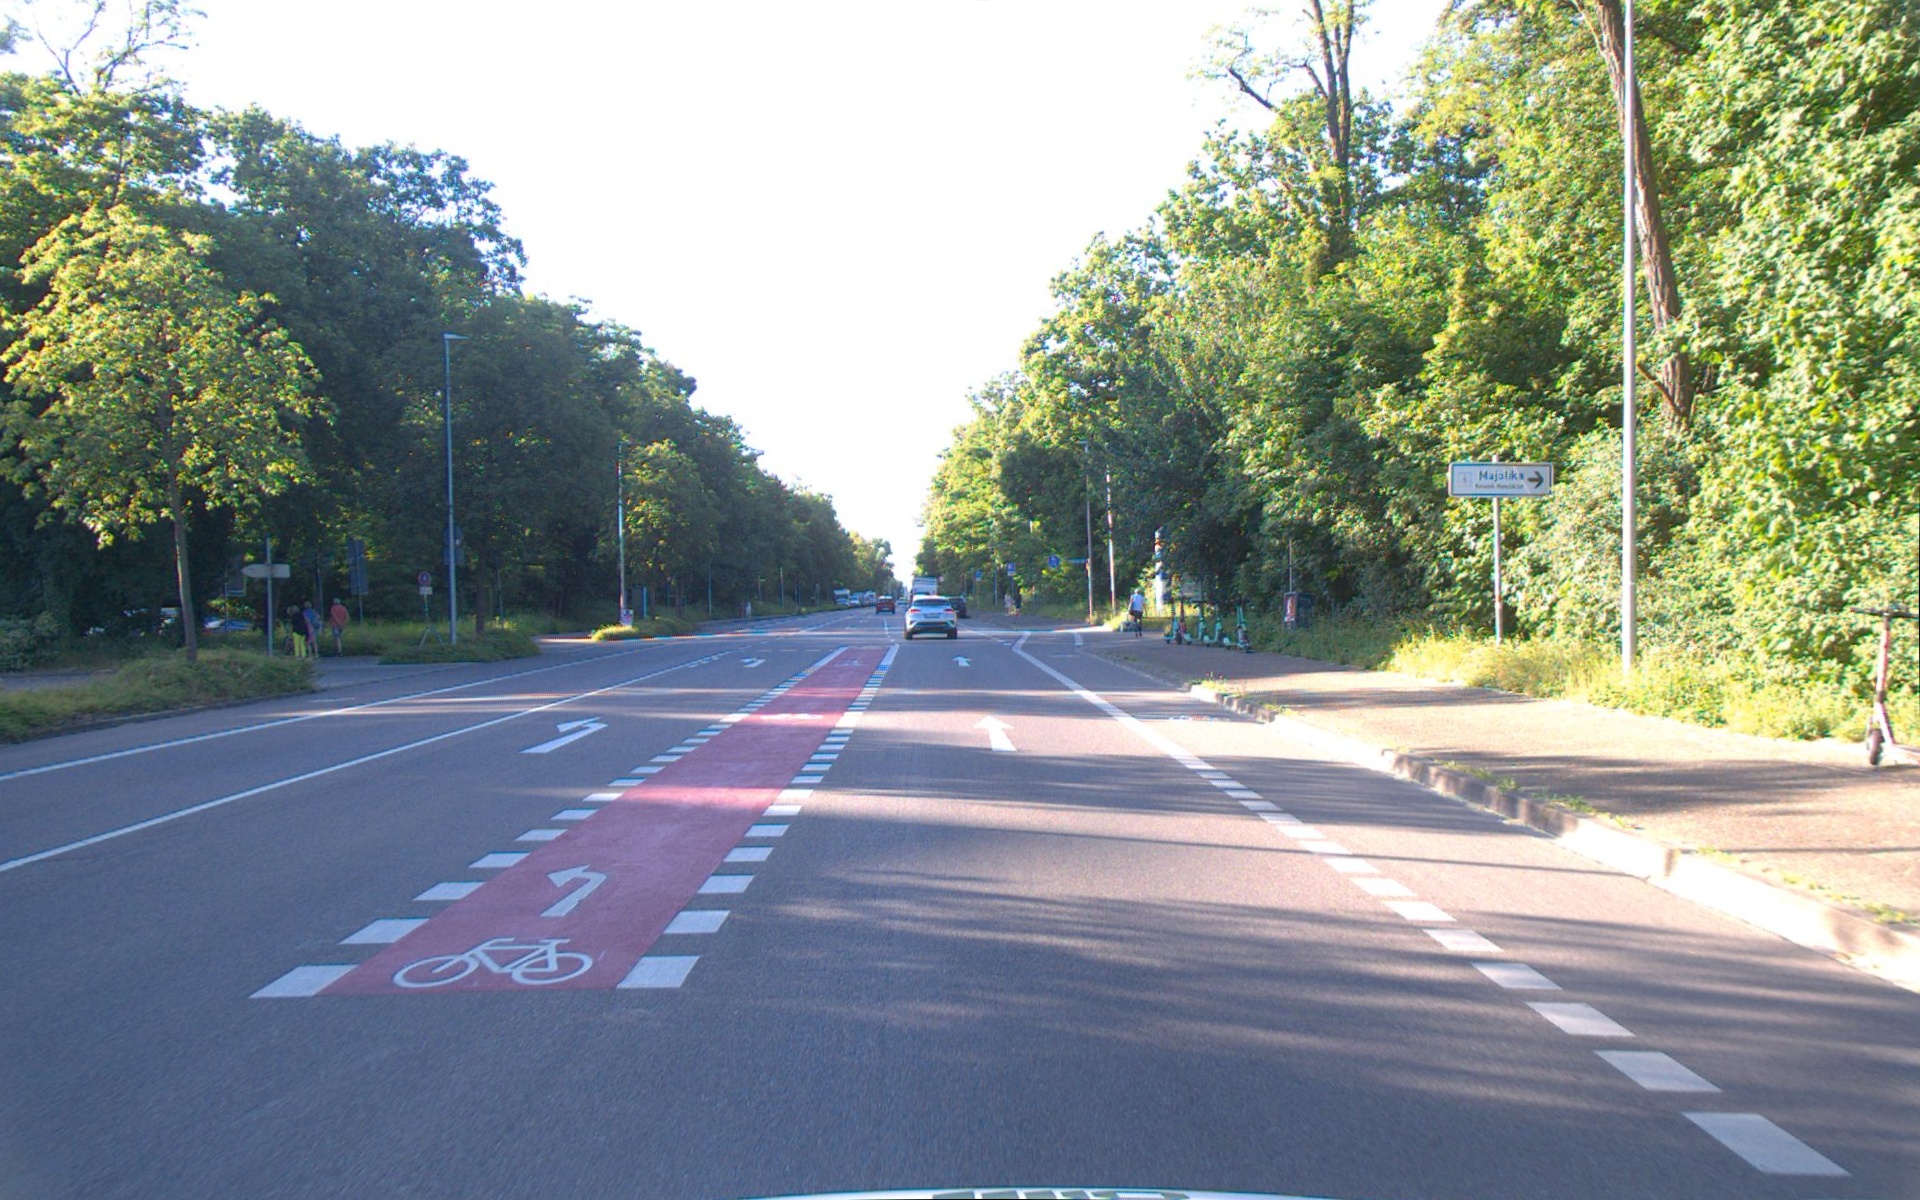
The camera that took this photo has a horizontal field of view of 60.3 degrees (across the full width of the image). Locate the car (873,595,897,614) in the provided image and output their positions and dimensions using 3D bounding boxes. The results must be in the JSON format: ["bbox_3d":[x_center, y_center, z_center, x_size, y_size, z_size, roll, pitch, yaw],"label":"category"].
[{"bbox_3d":[-6.616,0.393,146.692,1.953,1.545,3.999,-1,0,-1],"label":"car"}]

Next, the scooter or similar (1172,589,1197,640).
[{"bbox_3d":[6.553,0.418,48.346,0.667,1.448,1.246,-1,0,7],"label":"scooter or similar"}]

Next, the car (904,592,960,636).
[{"bbox_3d":[-1.033,0.488,58.471,1.727,1.485,3.814,0,0,-5],"label":"car"}]

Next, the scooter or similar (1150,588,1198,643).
[{"bbox_3d":[5.873,0.416,45.507,0.671,1.448,1.674,-1,0,-16],"label":"scooter or similar"}]

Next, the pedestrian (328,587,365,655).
[{"bbox_3d":[-18.698,0.641,50.426,0.703,2.049,0.746,-1,0,30],"label":"pedestrian"}]

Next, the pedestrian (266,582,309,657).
[{"bbox_3d":[-18.631,0.525,45.843,0.702,2.049,0.797,-1,0,19],"label":"pedestrian"}]

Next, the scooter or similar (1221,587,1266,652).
[{"bbox_3d":[6.468,0.435,37.817,0.668,1.448,1.681,-1,0,-2],"label":"scooter or similar"}]

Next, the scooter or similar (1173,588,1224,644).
[{"bbox_3d":[6.302,0.411,43.837,0.671,1.448,1.674,-1,0,-16],"label":"scooter or similar"}]

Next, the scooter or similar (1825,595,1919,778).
[{"bbox_3d":[6.992,0.607,12.059,0.522,1.272,1.541,-1,0,-1],"label":"scooter or similar"}]

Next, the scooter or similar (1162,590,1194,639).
[{"bbox_3d":[6.570,0.419,49.886,0.668,1.448,1.681,-1,0,-1],"label":"scooter or similar"}]

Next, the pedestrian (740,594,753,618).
[{"bbox_3d":[-18.407,0.534,142.560,0.846,2.049,1.269,-1,0,0],"label":"pedestrian"}]

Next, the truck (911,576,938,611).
[{"bbox_3d":[-3.840,-0.712,179.481,2.743,3.632,8.030,0,0,-3],"label":"truck"}]

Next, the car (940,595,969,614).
[{"bbox_3d":[-0.389,0.317,120.098,1.953,1.350,3.999,-2,0,-2],"label":"car"}]

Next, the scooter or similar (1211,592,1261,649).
[{"bbox_3d":[6.608,0.485,39.674,0.459,1.329,1.470,-1,0,-23],"label":"scooter or similar"}]

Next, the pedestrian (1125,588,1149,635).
[{"bbox_3d":[6.096,0.392,56.980,0.739,1.591,0.803,-1,0,3],"label":"pedestrian"}]

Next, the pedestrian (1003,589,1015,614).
[{"bbox_3d":[3.284,0.090,111.018,0.684,1.682,0.876,-2,0,-2],"label":"pedestrian"}]

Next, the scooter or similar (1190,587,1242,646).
[{"bbox_3d":[6.458,0.414,41.768,0.670,1.448,1.675,-1,0,-15],"label":"scooter or similar"}]

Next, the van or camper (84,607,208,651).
[{"bbox_3d":[-40.658,1.477,82.796,1.955,2.049,5.410,-1,-3,28],"label":"van or camper"}]

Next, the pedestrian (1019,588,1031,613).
[{"bbox_3d":[4.373,0.052,111.042,0.728,1.627,0.797,-2,0,-2],"label":"pedestrian"}]

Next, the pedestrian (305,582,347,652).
[{"bbox_3d":[-18.989,0.501,49.534,0.703,2.049,0.873,-1,0,30],"label":"pedestrian"}]

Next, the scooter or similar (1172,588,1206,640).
[{"bbox_3d":[6.479,0.388,46.832,0.668,1.448,1.681,-1,0,-1],"label":"scooter or similar"}]

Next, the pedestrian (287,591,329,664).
[{"bbox_3d":[-18.372,0.768,46.603,0.702,2.049,0.797,-1,0,18],"label":"pedestrian"}]
